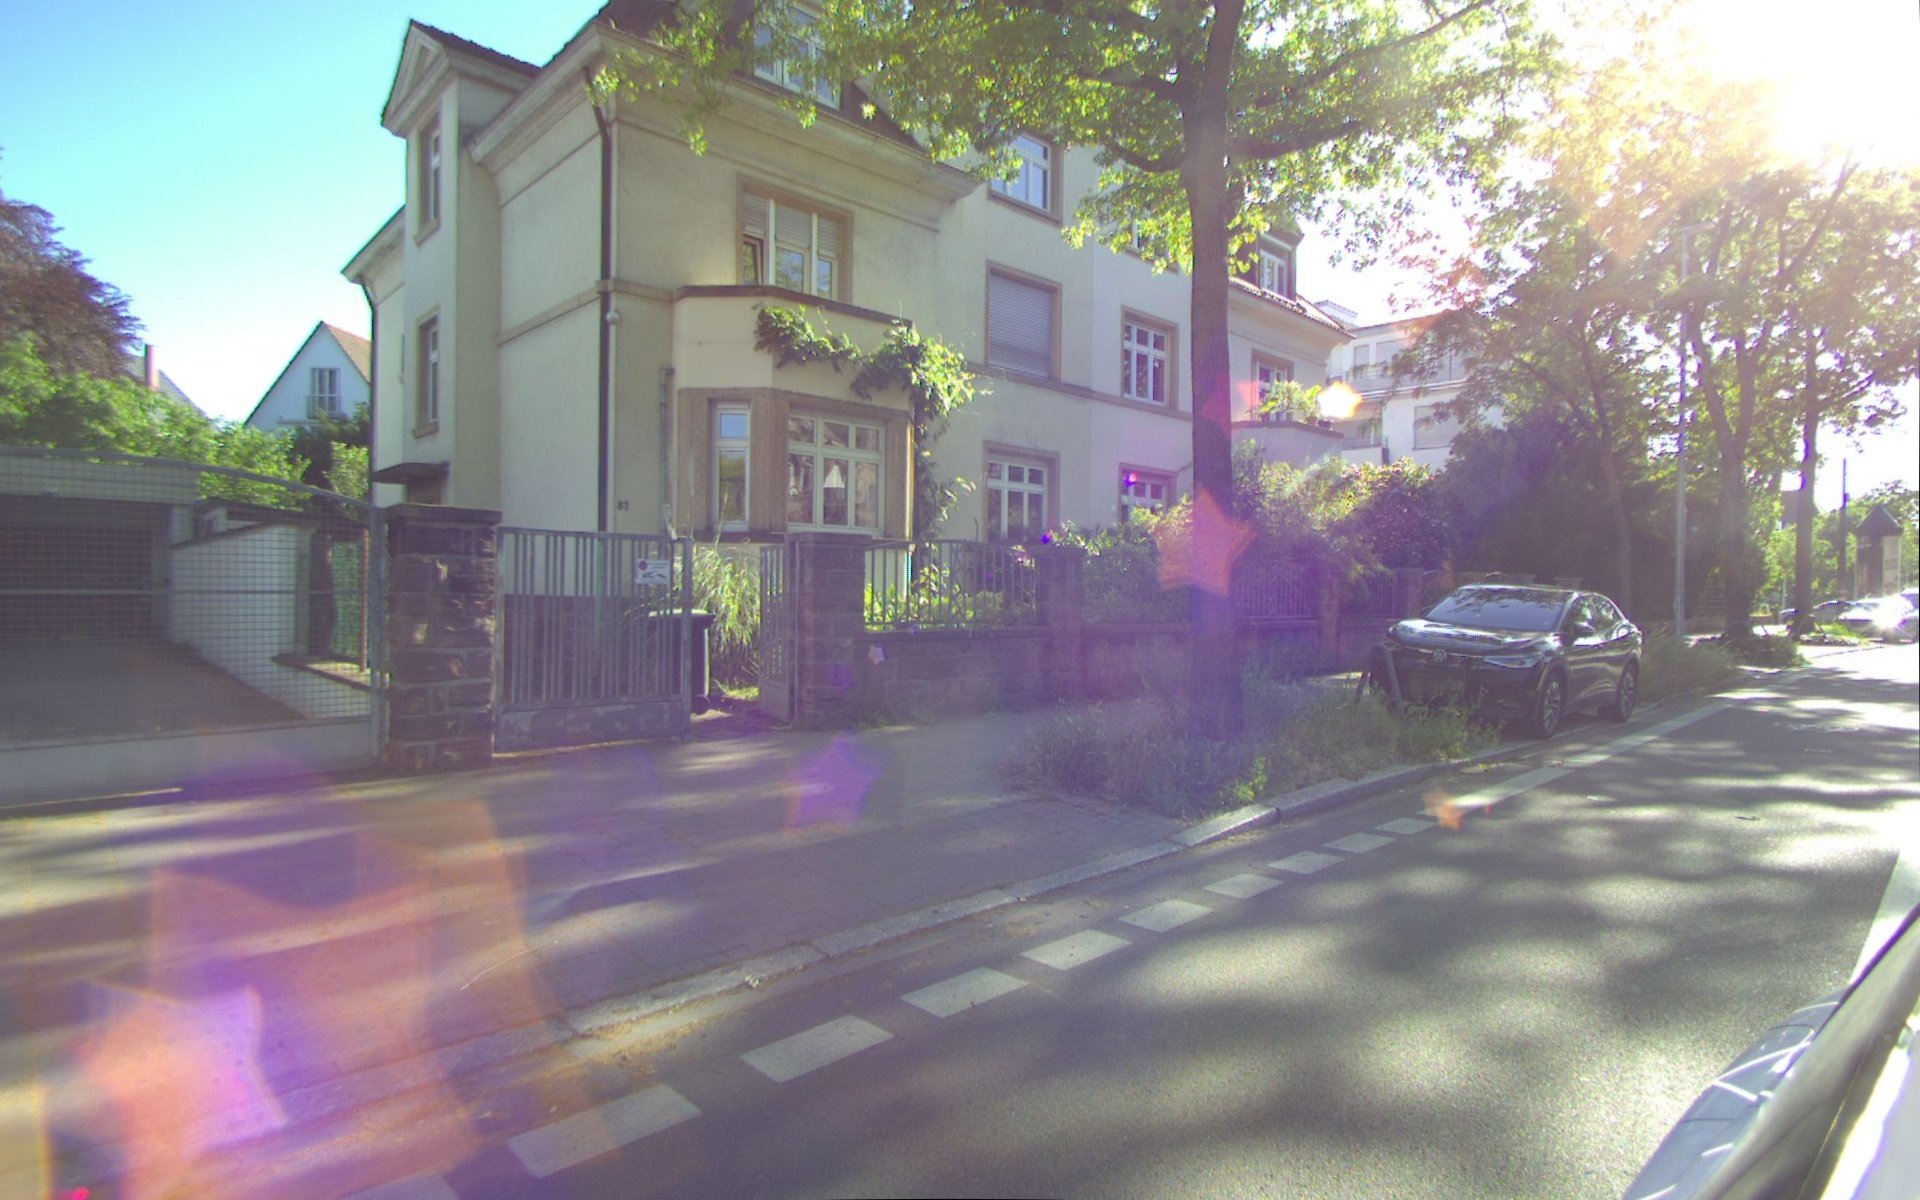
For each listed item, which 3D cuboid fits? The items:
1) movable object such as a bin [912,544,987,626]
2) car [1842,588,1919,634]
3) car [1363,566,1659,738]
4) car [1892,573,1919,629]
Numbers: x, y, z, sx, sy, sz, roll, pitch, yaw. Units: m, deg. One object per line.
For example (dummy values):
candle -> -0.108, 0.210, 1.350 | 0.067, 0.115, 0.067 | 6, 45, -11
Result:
movable object such as a bin -> -0.155, -0.205, 13.987 | 0.697, 1.070, 1.093 | 0, 0, -20
car -> 31.549, 0.337, 34.422 | 3.930, 1.469, 1.785 | 0, 1, -41
car -> 6.670, 0.494, 12.073 | 4.020, 1.626, 1.743 | 0, 4, -41
car -> 36.784, 0.049, 38.083 | 4.503, 2.039, 1.997 | 0, 1, -41
